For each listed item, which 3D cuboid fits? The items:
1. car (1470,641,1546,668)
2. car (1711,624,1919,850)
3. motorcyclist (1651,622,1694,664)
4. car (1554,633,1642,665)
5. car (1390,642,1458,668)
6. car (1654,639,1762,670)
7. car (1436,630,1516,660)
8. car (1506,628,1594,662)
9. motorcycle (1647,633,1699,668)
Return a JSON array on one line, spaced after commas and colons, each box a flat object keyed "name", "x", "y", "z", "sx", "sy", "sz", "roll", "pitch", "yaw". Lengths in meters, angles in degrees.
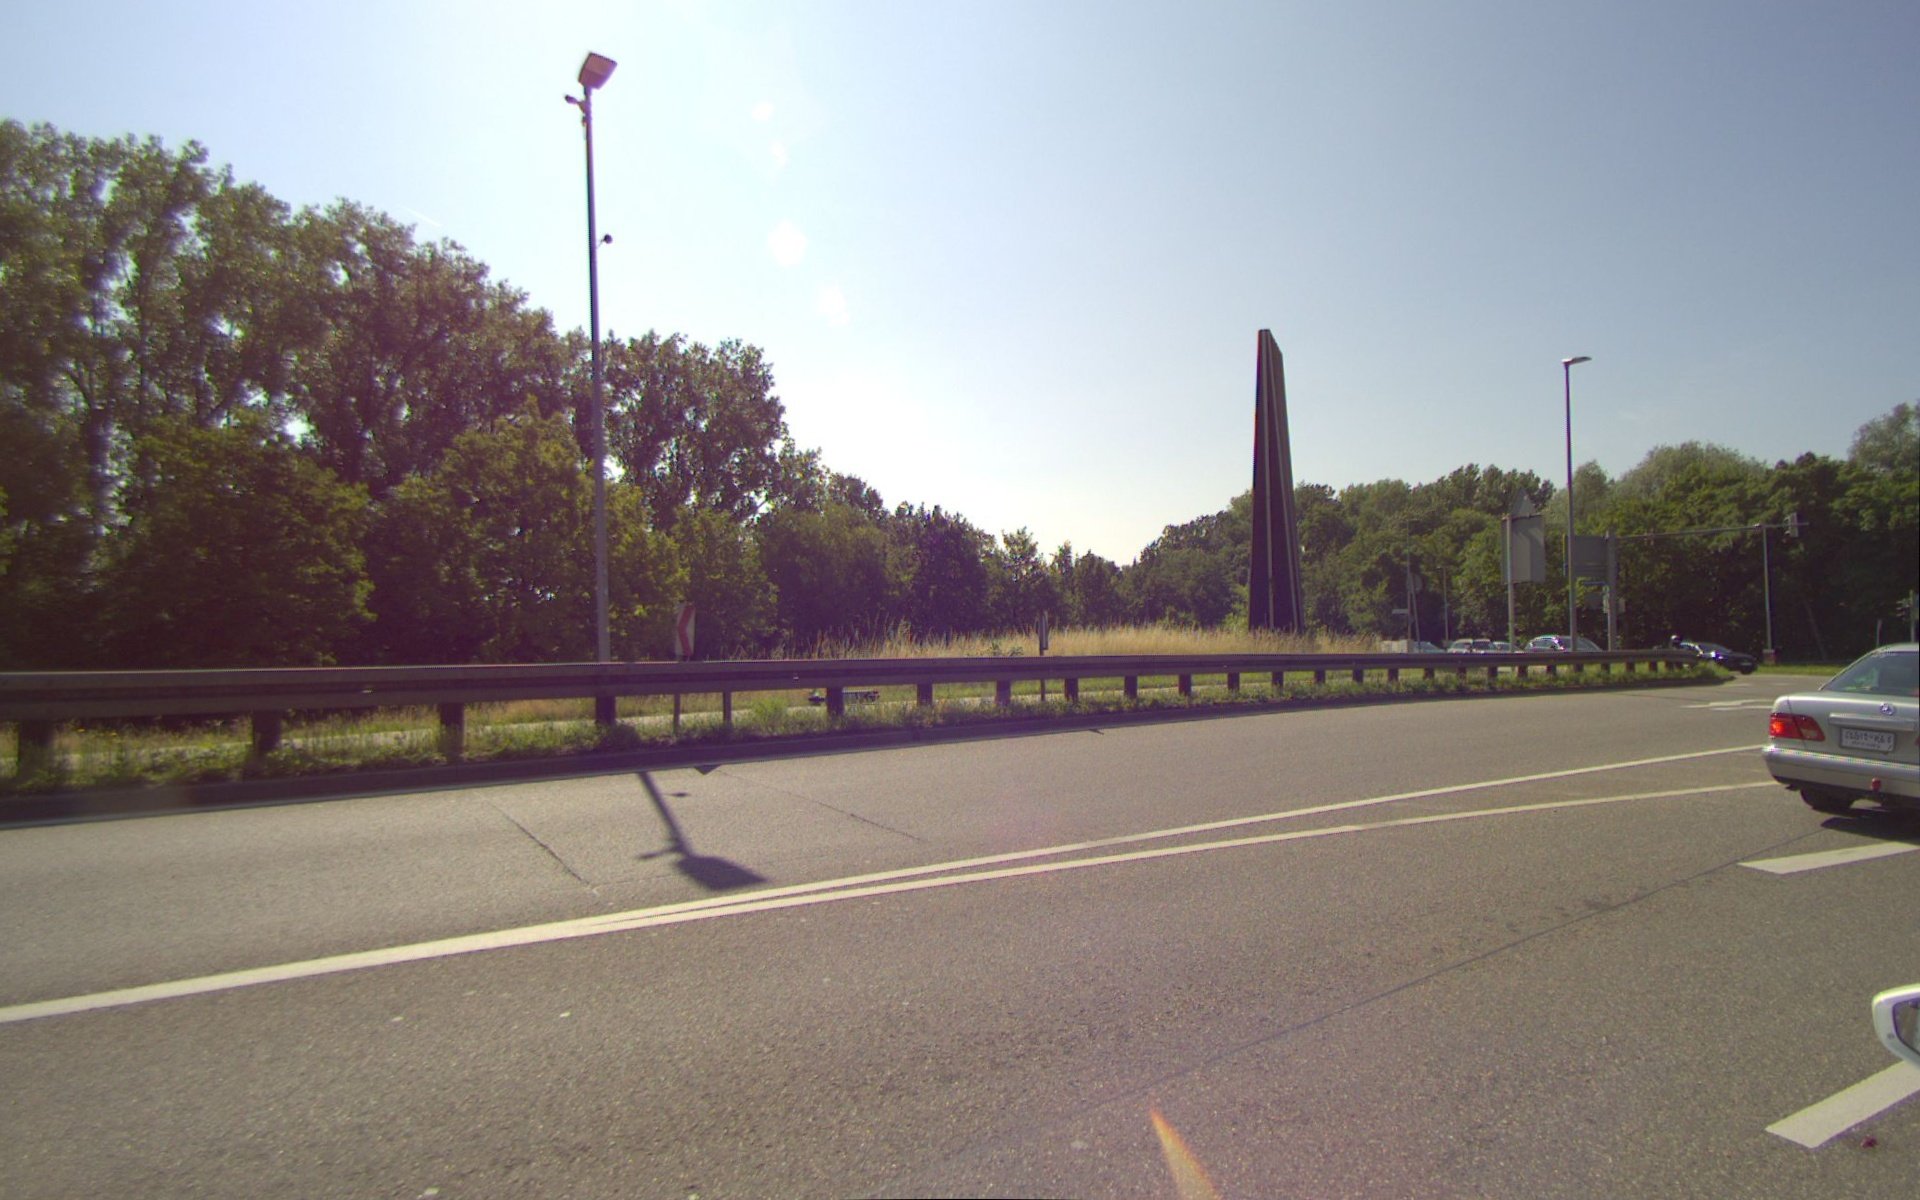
[{"name": "car", "x": 31.946, "y": 3.232, "z": 58.681, "sx": 2.083, "sy": 1.406, "sz": 4.001, "roll": 3, "pitch": -5, "yaw": -3}, {"name": "car", "x": 8.522, "y": 0.994, "z": 8.200, "sx": 4.837, "sy": 1.506, "sz": 1.932, "roll": 1, "pitch": -1, "yaw": -27}, {"name": "motorcyclist", "x": 32.955, "y": 1.990, "z": 46.464, "sx": 0.875, "sy": 1.894, "sz": 1.464, "roll": 2, "pitch": -4, "yaw": -5}, {"name": "car", "x": 31.930, "y": 2.505, "z": 50.409, "sx": 1.733, "sy": 1.406, "sz": 4.001, "roll": 3, "pitch": -5, "yaw": -3}, {"name": "car", "x": 27.848, "y": 3.329, "z": 60.383, "sx": 1.884, "sy": 1.406, "sz": 4.398, "roll": 3, "pitch": -5, "yaw": -3}, {"name": "car", "x": 35.405, "y": 2.620, "z": 47.674, "sx": 1.916, "sy": 1.237, "sz": 4.000, "roll": 2, "pitch": -6, "yaw": -5}, {"name": "car", "x": 28.000, "y": 2.478, "z": 54.659, "sx": 1.884, "sy": 1.406, "sz": 4.398, "roll": 3, "pitch": -5, "yaw": -3}, {"name": "car", "x": 28.089, "y": 2.177, "z": 47.964, "sx": 1.669, "sy": 1.406, "sz": 4.001, "roll": 3, "pitch": -5, "yaw": -3}, {"name": "motorcycle", "x": 32.954, "y": 2.362, "z": 46.453, "sx": 0.882, "sy": 1.548, "sz": 1.982, "roll": 2, "pitch": -4, "yaw": -5}]
